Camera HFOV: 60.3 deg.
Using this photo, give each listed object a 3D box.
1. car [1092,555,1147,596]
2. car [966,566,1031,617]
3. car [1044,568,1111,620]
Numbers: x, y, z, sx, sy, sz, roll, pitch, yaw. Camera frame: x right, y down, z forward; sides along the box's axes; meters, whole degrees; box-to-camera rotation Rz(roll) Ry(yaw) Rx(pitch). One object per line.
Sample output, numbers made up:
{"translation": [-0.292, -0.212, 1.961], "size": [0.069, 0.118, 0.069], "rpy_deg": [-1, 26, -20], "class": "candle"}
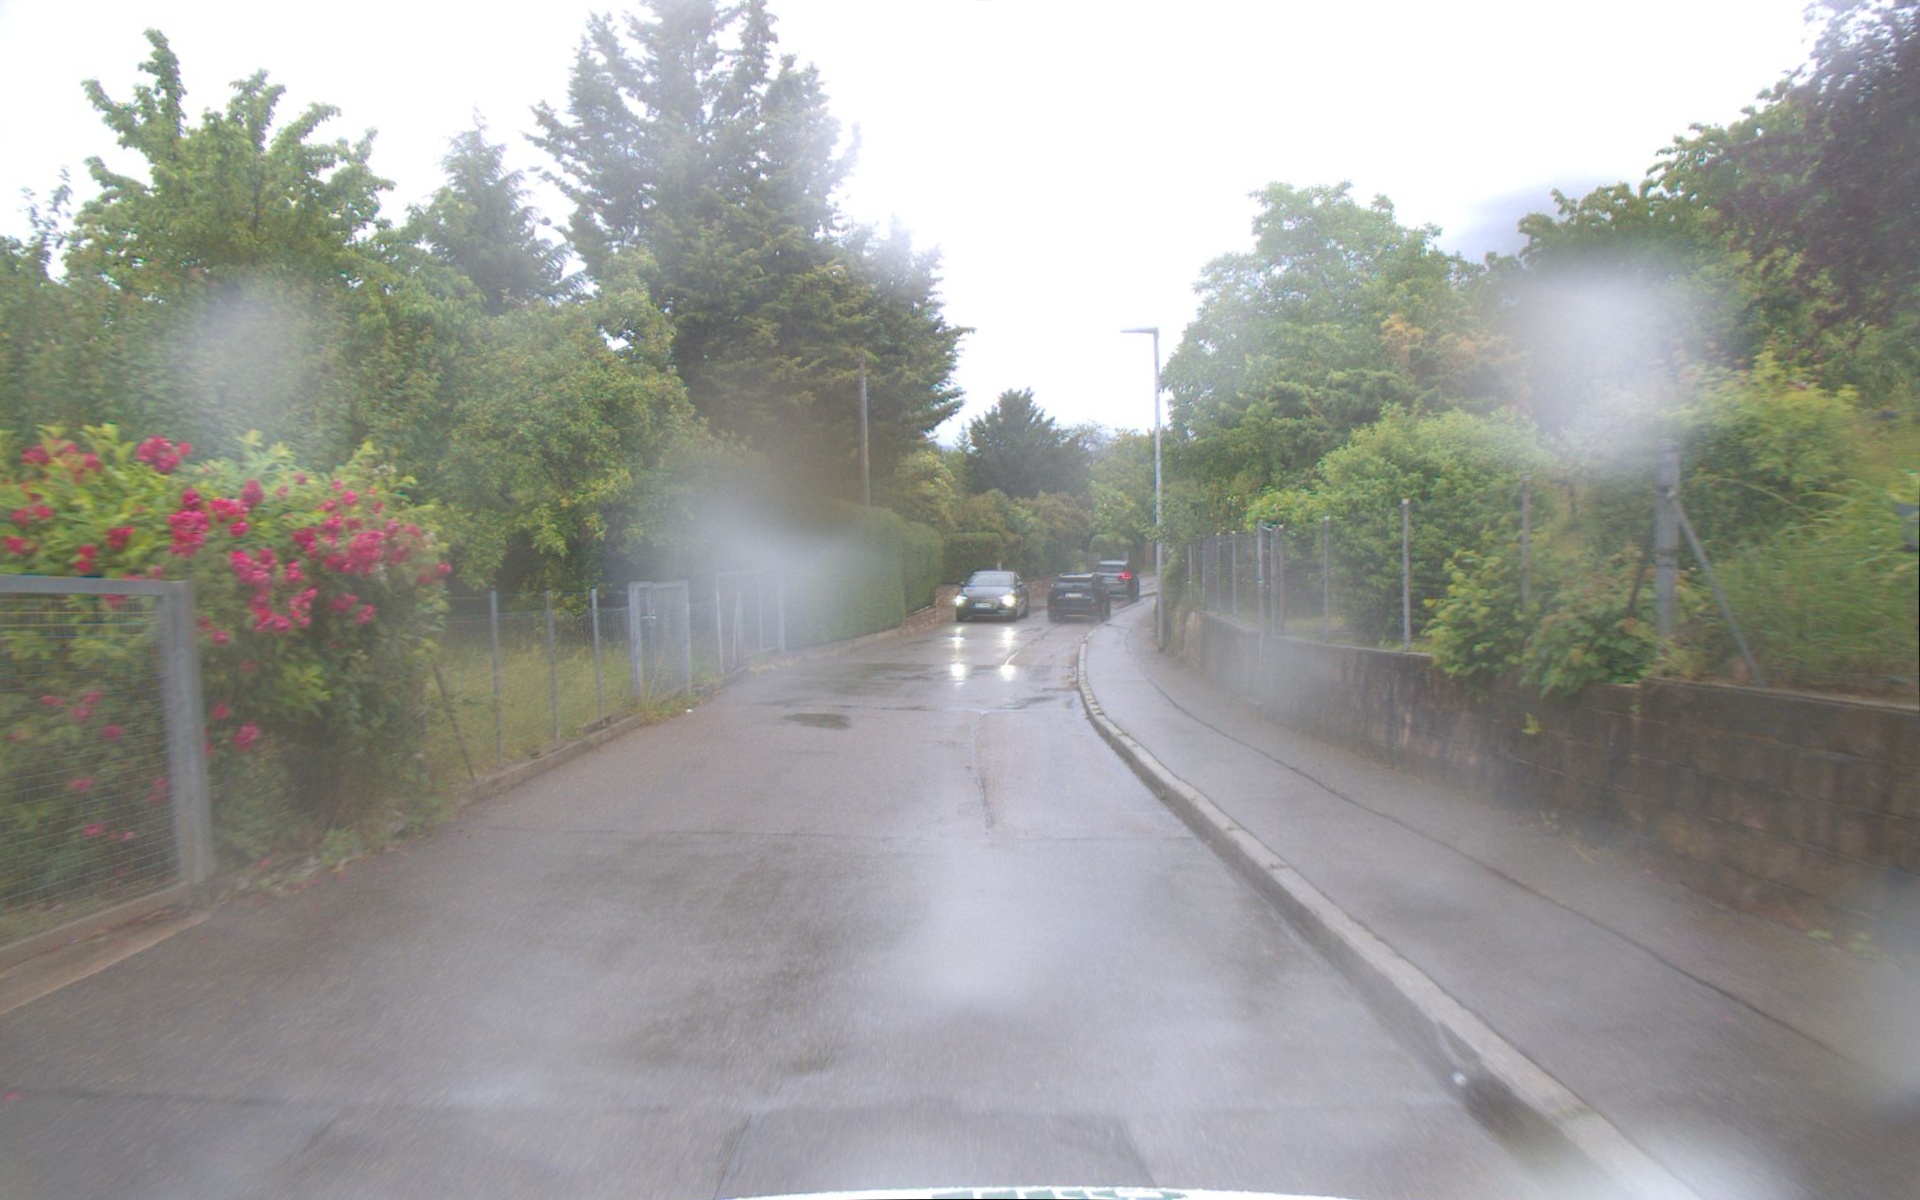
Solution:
{"translation": [6.636, -1.028, 68.484], "size": [1.642, 1.592, 3.798], "rpy_deg": [2, 2, 14], "class": "car"}
{"translation": [1.244, -0.296, 51.723], "size": [1.742, 1.520, 3.833], "rpy_deg": [1, 1, 6], "class": "car"}
{"translation": [3.718, -0.183, 51.853], "size": [1.796, 1.489, 4.003], "rpy_deg": [2, 0, 8], "class": "car"}
